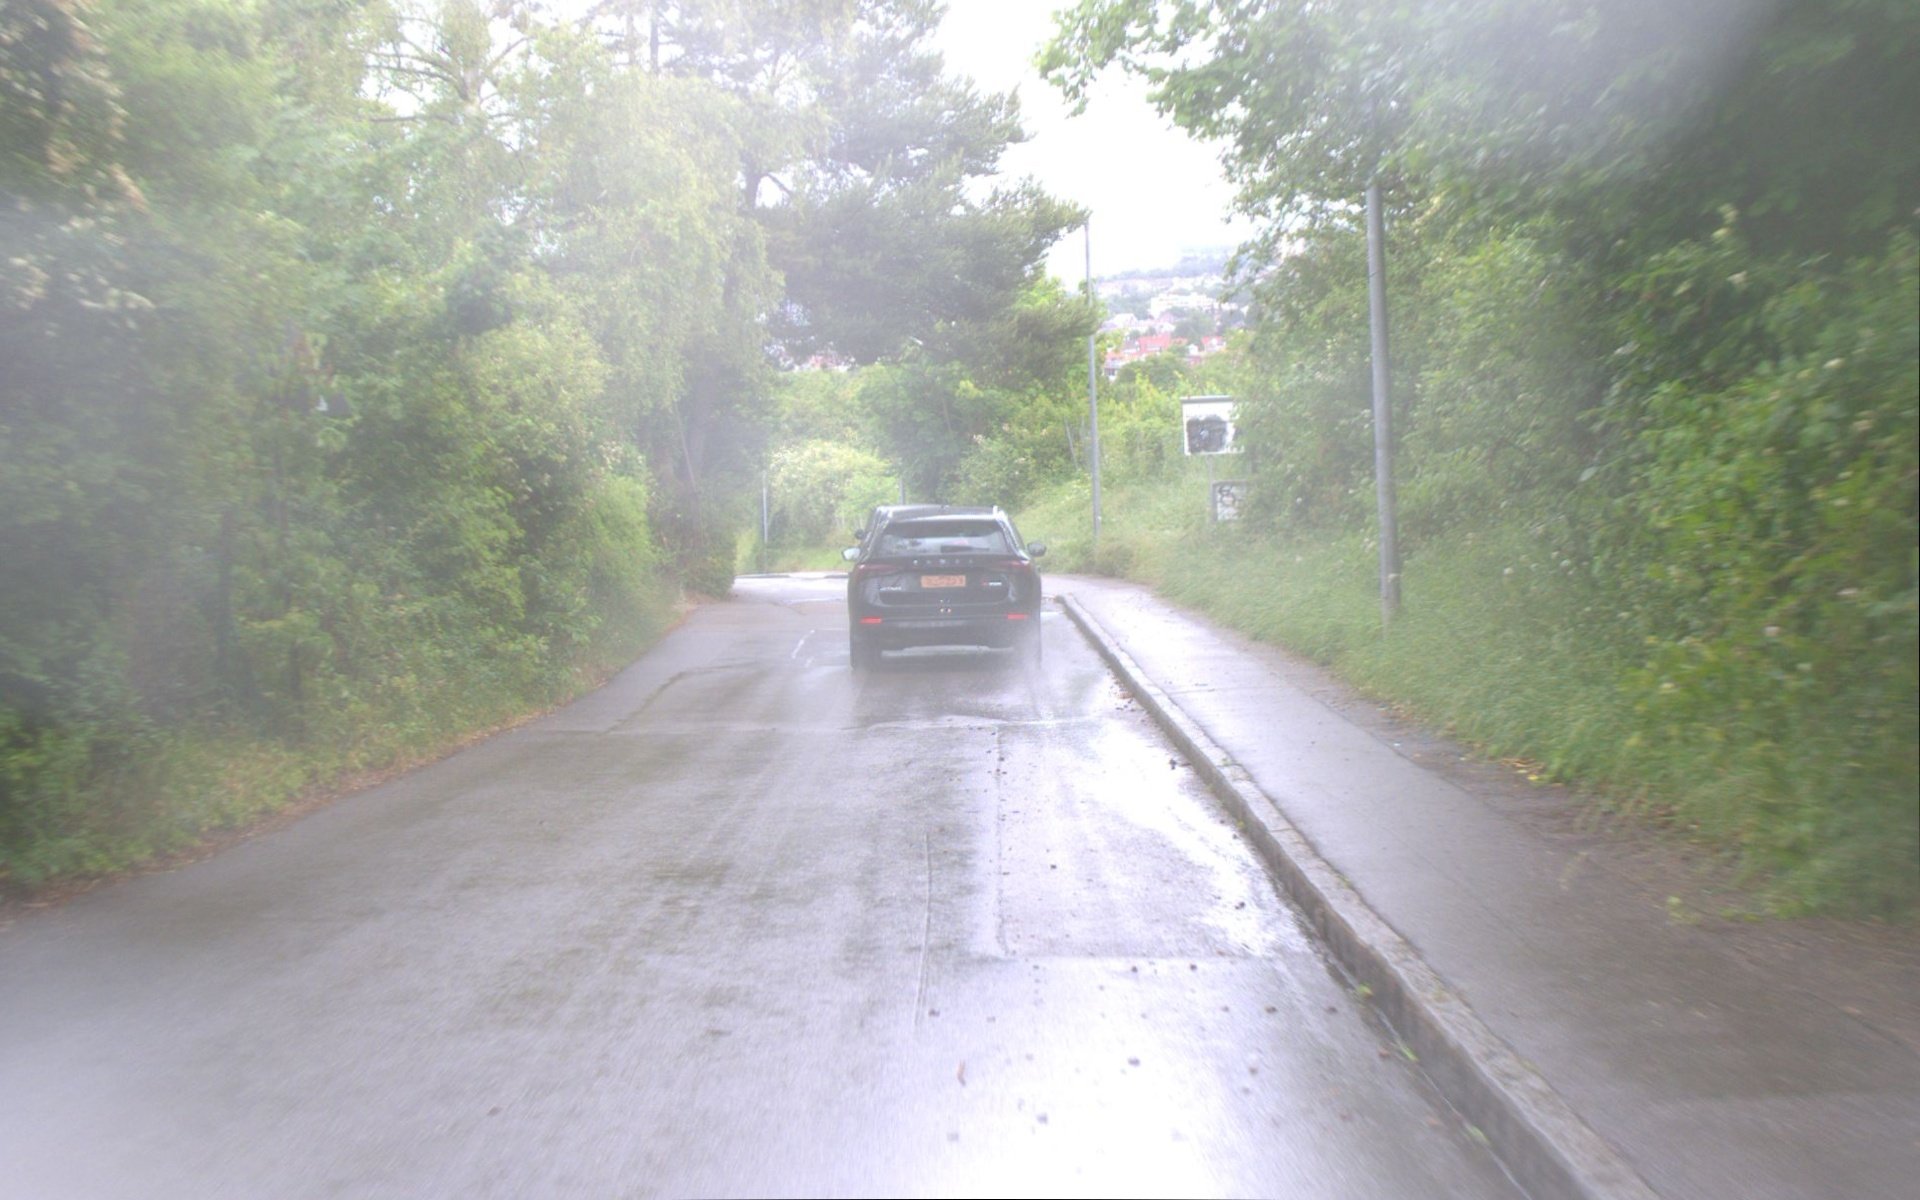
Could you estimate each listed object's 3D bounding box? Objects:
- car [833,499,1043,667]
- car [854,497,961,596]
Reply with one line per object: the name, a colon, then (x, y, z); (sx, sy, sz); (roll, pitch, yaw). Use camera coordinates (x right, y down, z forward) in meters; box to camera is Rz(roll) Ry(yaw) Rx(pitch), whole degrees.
car: (-0.222, -0.125, 32.310); (1.835, 1.459, 4.000); (-1, -1, -1)
car: (-0.841, -0.894, 56.250); (1.678, 1.560, 3.794); (0, 2, 0)
